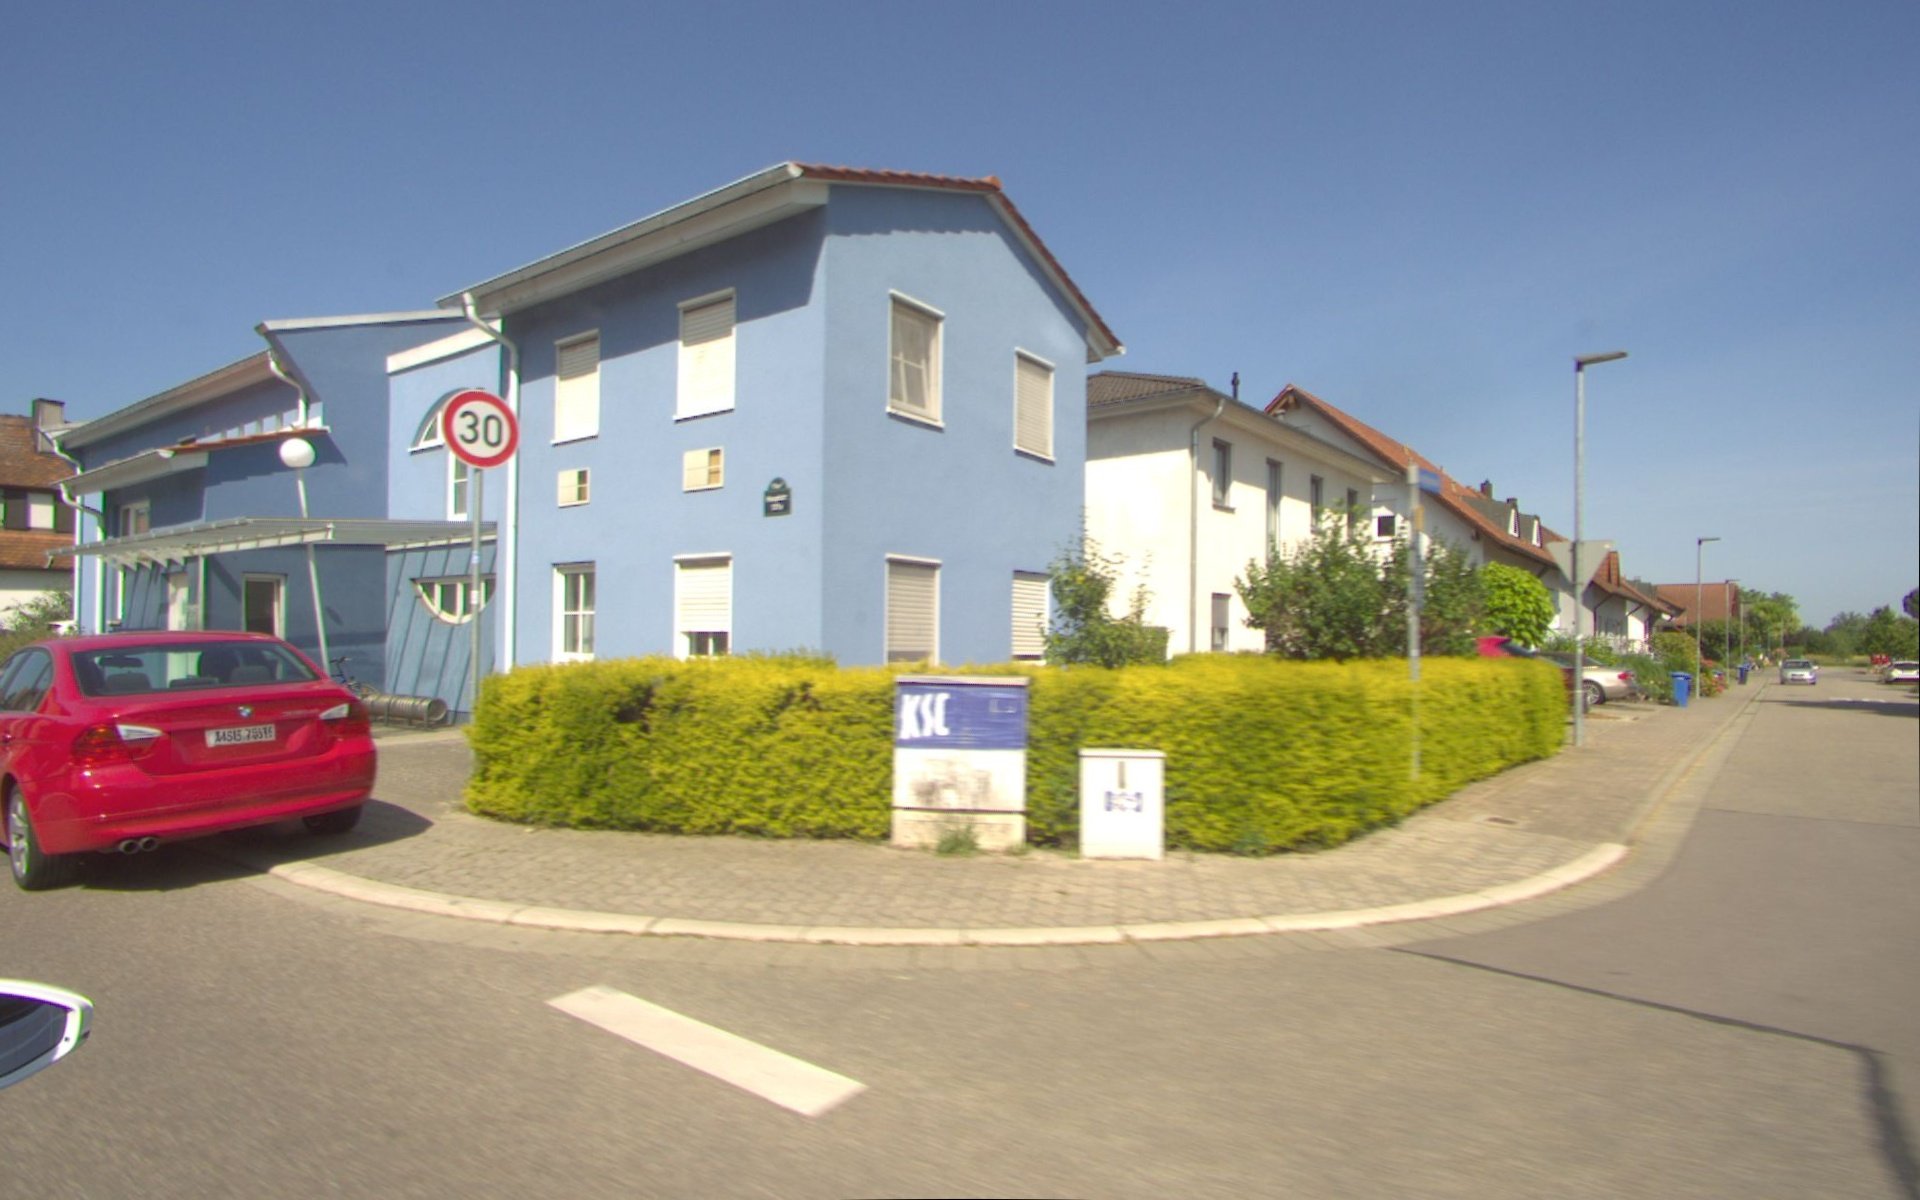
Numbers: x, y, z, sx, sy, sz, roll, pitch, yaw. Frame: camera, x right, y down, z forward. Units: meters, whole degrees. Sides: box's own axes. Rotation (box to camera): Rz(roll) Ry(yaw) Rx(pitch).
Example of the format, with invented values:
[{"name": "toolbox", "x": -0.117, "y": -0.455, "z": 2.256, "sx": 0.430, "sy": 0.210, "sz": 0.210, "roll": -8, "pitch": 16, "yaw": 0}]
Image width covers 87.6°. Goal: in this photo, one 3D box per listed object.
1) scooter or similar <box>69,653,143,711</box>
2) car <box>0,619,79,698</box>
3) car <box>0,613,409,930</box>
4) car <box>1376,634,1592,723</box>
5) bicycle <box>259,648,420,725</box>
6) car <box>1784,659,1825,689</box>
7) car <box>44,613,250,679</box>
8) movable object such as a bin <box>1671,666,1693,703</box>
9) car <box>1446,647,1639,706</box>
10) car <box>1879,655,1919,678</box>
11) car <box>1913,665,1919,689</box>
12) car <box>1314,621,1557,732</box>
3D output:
[{"name": "scooter or similar", "x": -13.214, "y": 1.251, "z": 15.491, "sx": 0.817, "sy": 0.825, "sz": 0.725, "roll": -1, "pitch": 0, "yaw": 39}, {"name": "car", "x": -19.081, "y": 1.106, "z": 19.713, "sx": 4.089, "sy": 1.438, "sz": 1.685, "roll": -1, "pitch": -1, "yaw": 35}, {"name": "car", "x": -5.710, "y": 0.878, "z": 6.977, "sx": 4.300, "sy": 1.514, "sz": 1.725, "roll": 0, "pitch": 1, "yaw": 38}, {"name": "car", "x": 10.042, "y": 1.458, "z": 19.279, "sx": 3.434, "sy": 1.539, "sz": 1.614, "roll": -1, "pitch": -4, "yaw": 40}, {"name": "bicycle", "x": -9.296, "y": 1.267, "z": 15.081, "sx": 0.648, "sy": 0.994, "sz": 1.948, "roll": 0, "pitch": 0, "yaw": 36}, {"name": "car", "x": 50.529, "y": 4.396, "z": 59.969, "sx": 1.619, "sy": 1.557, "sz": 3.879, "roll": -1, "pitch": -2, "yaw": 37}, {"name": "car", "x": -22.526, "y": 1.220, "z": 27.891, "sx": 1.789, "sy": 1.679, "sz": 4.160, "roll": -1, "pitch": -1, "yaw": 37}, {"name": "movable object such as a bin", "x": 19.906, "y": 2.320, "z": 27.592, "sx": 0.458, "sy": 0.992, "sz": 0.385, "roll": 0, "pitch": -2, "yaw": 42}, {"name": "car", "x": 15.762, "y": 2.036, "z": 27.217, "sx": 4.336, "sy": 1.447, "sz": 1.686, "roll": -1, "pitch": -4, "yaw": 40}, {"name": "car", "x": 59.137, "y": 4.142, "z": 62.794, "sx": 1.647, "sy": 1.217, "sz": 3.792, "roll": -1, "pitch": -1, "yaw": 35}, {"name": "car", "x": 47.361, "y": 3.734, "z": 48.101, "sx": 1.823, "sy": 1.137, "sz": 3.881, "roll": -1, "pitch": -4, "yaw": 37}, {"name": "car", "x": 7.982, "y": 1.239, "z": 16.938, "sx": 3.434, "sy": 1.692, "sz": 1.628, "roll": -1, "pitch": -4, "yaw": 40}]
